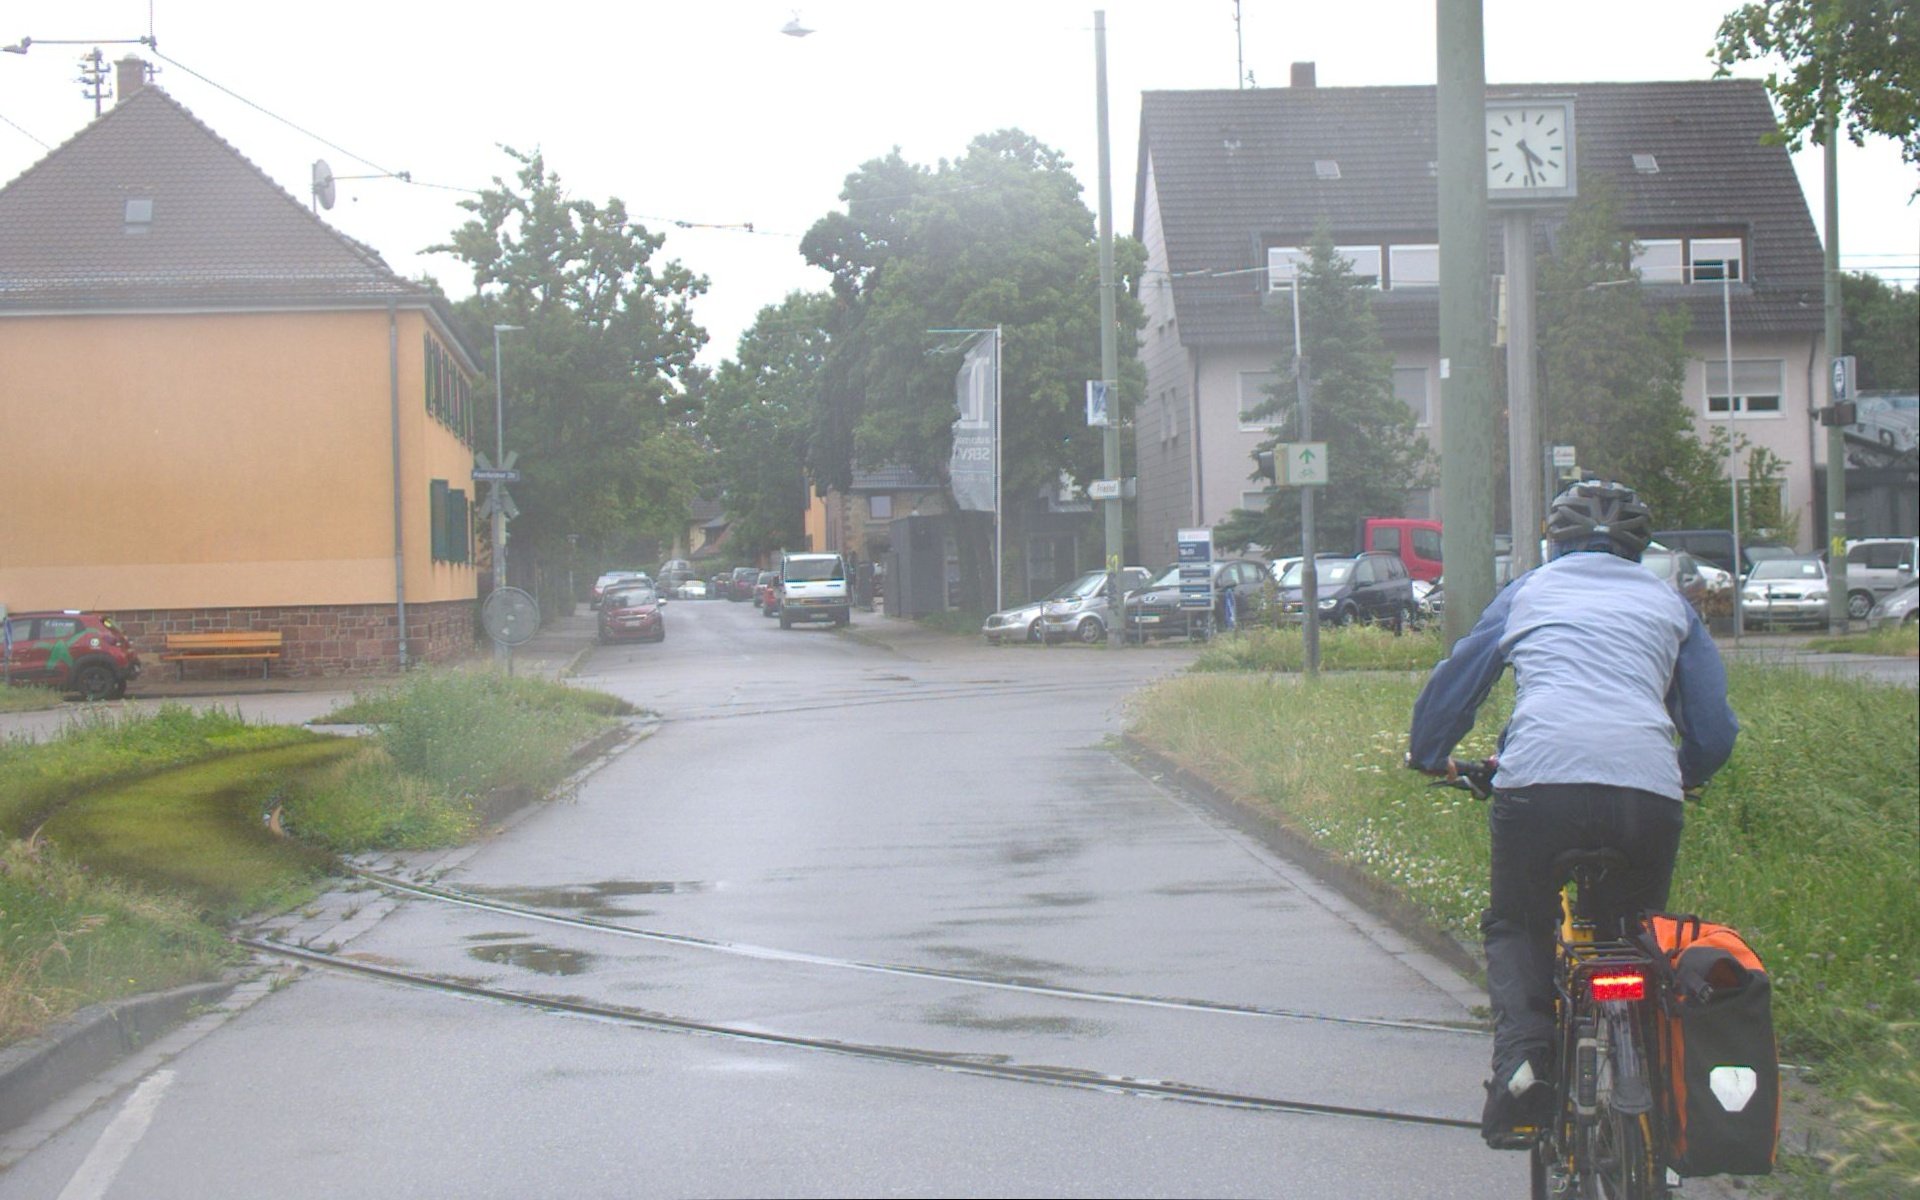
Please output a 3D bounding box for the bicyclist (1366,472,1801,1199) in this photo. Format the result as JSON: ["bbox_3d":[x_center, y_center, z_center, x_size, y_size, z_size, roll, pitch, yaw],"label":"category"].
[{"bbox_3d":[1.192,0.580,6.727,0.667,1.620,0.853,1,0,-1],"label":"bicyclist"}]

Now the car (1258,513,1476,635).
[{"bbox_3d":[8.764,-0.562,73.976,4.398,2.557,1.999,1,0,15],"label":"car"}]

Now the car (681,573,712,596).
[{"bbox_3d":[-17.058,-1.012,223.007,1.804,1.456,4.000,1,0,-2],"label":"car"}]

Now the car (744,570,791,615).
[{"bbox_3d":[-7.940,-0.328,141.838,1.804,1.805,4.000,1,0,-2],"label":"car"}]

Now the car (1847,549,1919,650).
[{"bbox_3d":[17.357,0.013,59.152,3.685,1.695,1.890,1,0,1],"label":"car"}]

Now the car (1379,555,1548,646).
[{"bbox_3d":[9.482,0.013,64.518,1.996,1.634,3.994,1,0,26],"label":"car"}]

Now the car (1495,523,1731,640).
[{"bbox_3d":[13.333,-0.375,70.343,4.395,2.317,2.000,1,0,-1],"label":"car"}]

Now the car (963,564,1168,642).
[{"bbox_3d":[2.284,0.069,74.198,3.987,1.637,2.000,1,0,-35],"label":"car"}]

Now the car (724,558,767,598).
[{"bbox_3d":[-9.923,-0.998,159.099,1.804,1.805,4.000,1,0,-2],"label":"car"}]

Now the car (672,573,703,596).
[{"bbox_3d":[-18.103,-1.034,228.314,1.804,1.456,4.000,1,0,-2],"label":"car"}]

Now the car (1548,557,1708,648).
[{"bbox_3d":[12.603,0.054,64.692,1.996,1.634,3.994,1,0,26],"label":"car"}]

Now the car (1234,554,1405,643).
[{"bbox_3d":[6.906,-0.024,65.725,1.996,1.634,3.994,1,0,26],"label":"car"}]

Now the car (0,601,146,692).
[{"bbox_3d":[-15.698,0.755,57.122,3.986,1.451,1.834,1,0,-5],"label":"car"}]

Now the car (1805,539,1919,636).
[{"bbox_3d":[19.537,-0.237,70.290,3.986,1.944,2.000,1,0,-1],"label":"car"}]

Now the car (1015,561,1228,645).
[{"bbox_3d":[3.350,0.071,71.113,3.987,1.670,2.000,1,0,-35],"label":"car"}]

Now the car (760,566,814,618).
[{"bbox_3d":[-6.136,-0.275,122.325,1.804,1.805,4.000,1,0,-2],"label":"car"}]

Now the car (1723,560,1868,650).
[{"bbox_3d":[15.838,0.096,65.035,1.843,1.634,3.994,1,0,26],"label":"car"}]

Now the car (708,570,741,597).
[{"bbox_3d":[-14.097,-0.998,205.778,1.804,1.558,4.000,1,0,-2],"label":"car"}]

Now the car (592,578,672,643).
[{"bbox_3d":[-8.581,0.276,90.136,1.804,1.645,4.000,1,0,-2],"label":"car"}]

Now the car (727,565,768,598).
[{"bbox_3d":[-10.106,-0.884,163.960,1.804,1.558,4.000,1,0,-2],"label":"car"}]

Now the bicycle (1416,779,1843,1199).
[{"bbox_3d":[1.223,0.903,6.541,0.446,1.001,1.727,-1,1,-1],"label":"bicycle"}]

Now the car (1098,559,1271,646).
[{"bbox_3d":[4.412,0.051,67.007,1.996,1.634,3.994,1,0,26],"label":"car"}]

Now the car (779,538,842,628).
[{"bbox_3d":[-4.438,-0.502,102.422,1.804,2.618,4.000,1,0,-2],"label":"car"}]
